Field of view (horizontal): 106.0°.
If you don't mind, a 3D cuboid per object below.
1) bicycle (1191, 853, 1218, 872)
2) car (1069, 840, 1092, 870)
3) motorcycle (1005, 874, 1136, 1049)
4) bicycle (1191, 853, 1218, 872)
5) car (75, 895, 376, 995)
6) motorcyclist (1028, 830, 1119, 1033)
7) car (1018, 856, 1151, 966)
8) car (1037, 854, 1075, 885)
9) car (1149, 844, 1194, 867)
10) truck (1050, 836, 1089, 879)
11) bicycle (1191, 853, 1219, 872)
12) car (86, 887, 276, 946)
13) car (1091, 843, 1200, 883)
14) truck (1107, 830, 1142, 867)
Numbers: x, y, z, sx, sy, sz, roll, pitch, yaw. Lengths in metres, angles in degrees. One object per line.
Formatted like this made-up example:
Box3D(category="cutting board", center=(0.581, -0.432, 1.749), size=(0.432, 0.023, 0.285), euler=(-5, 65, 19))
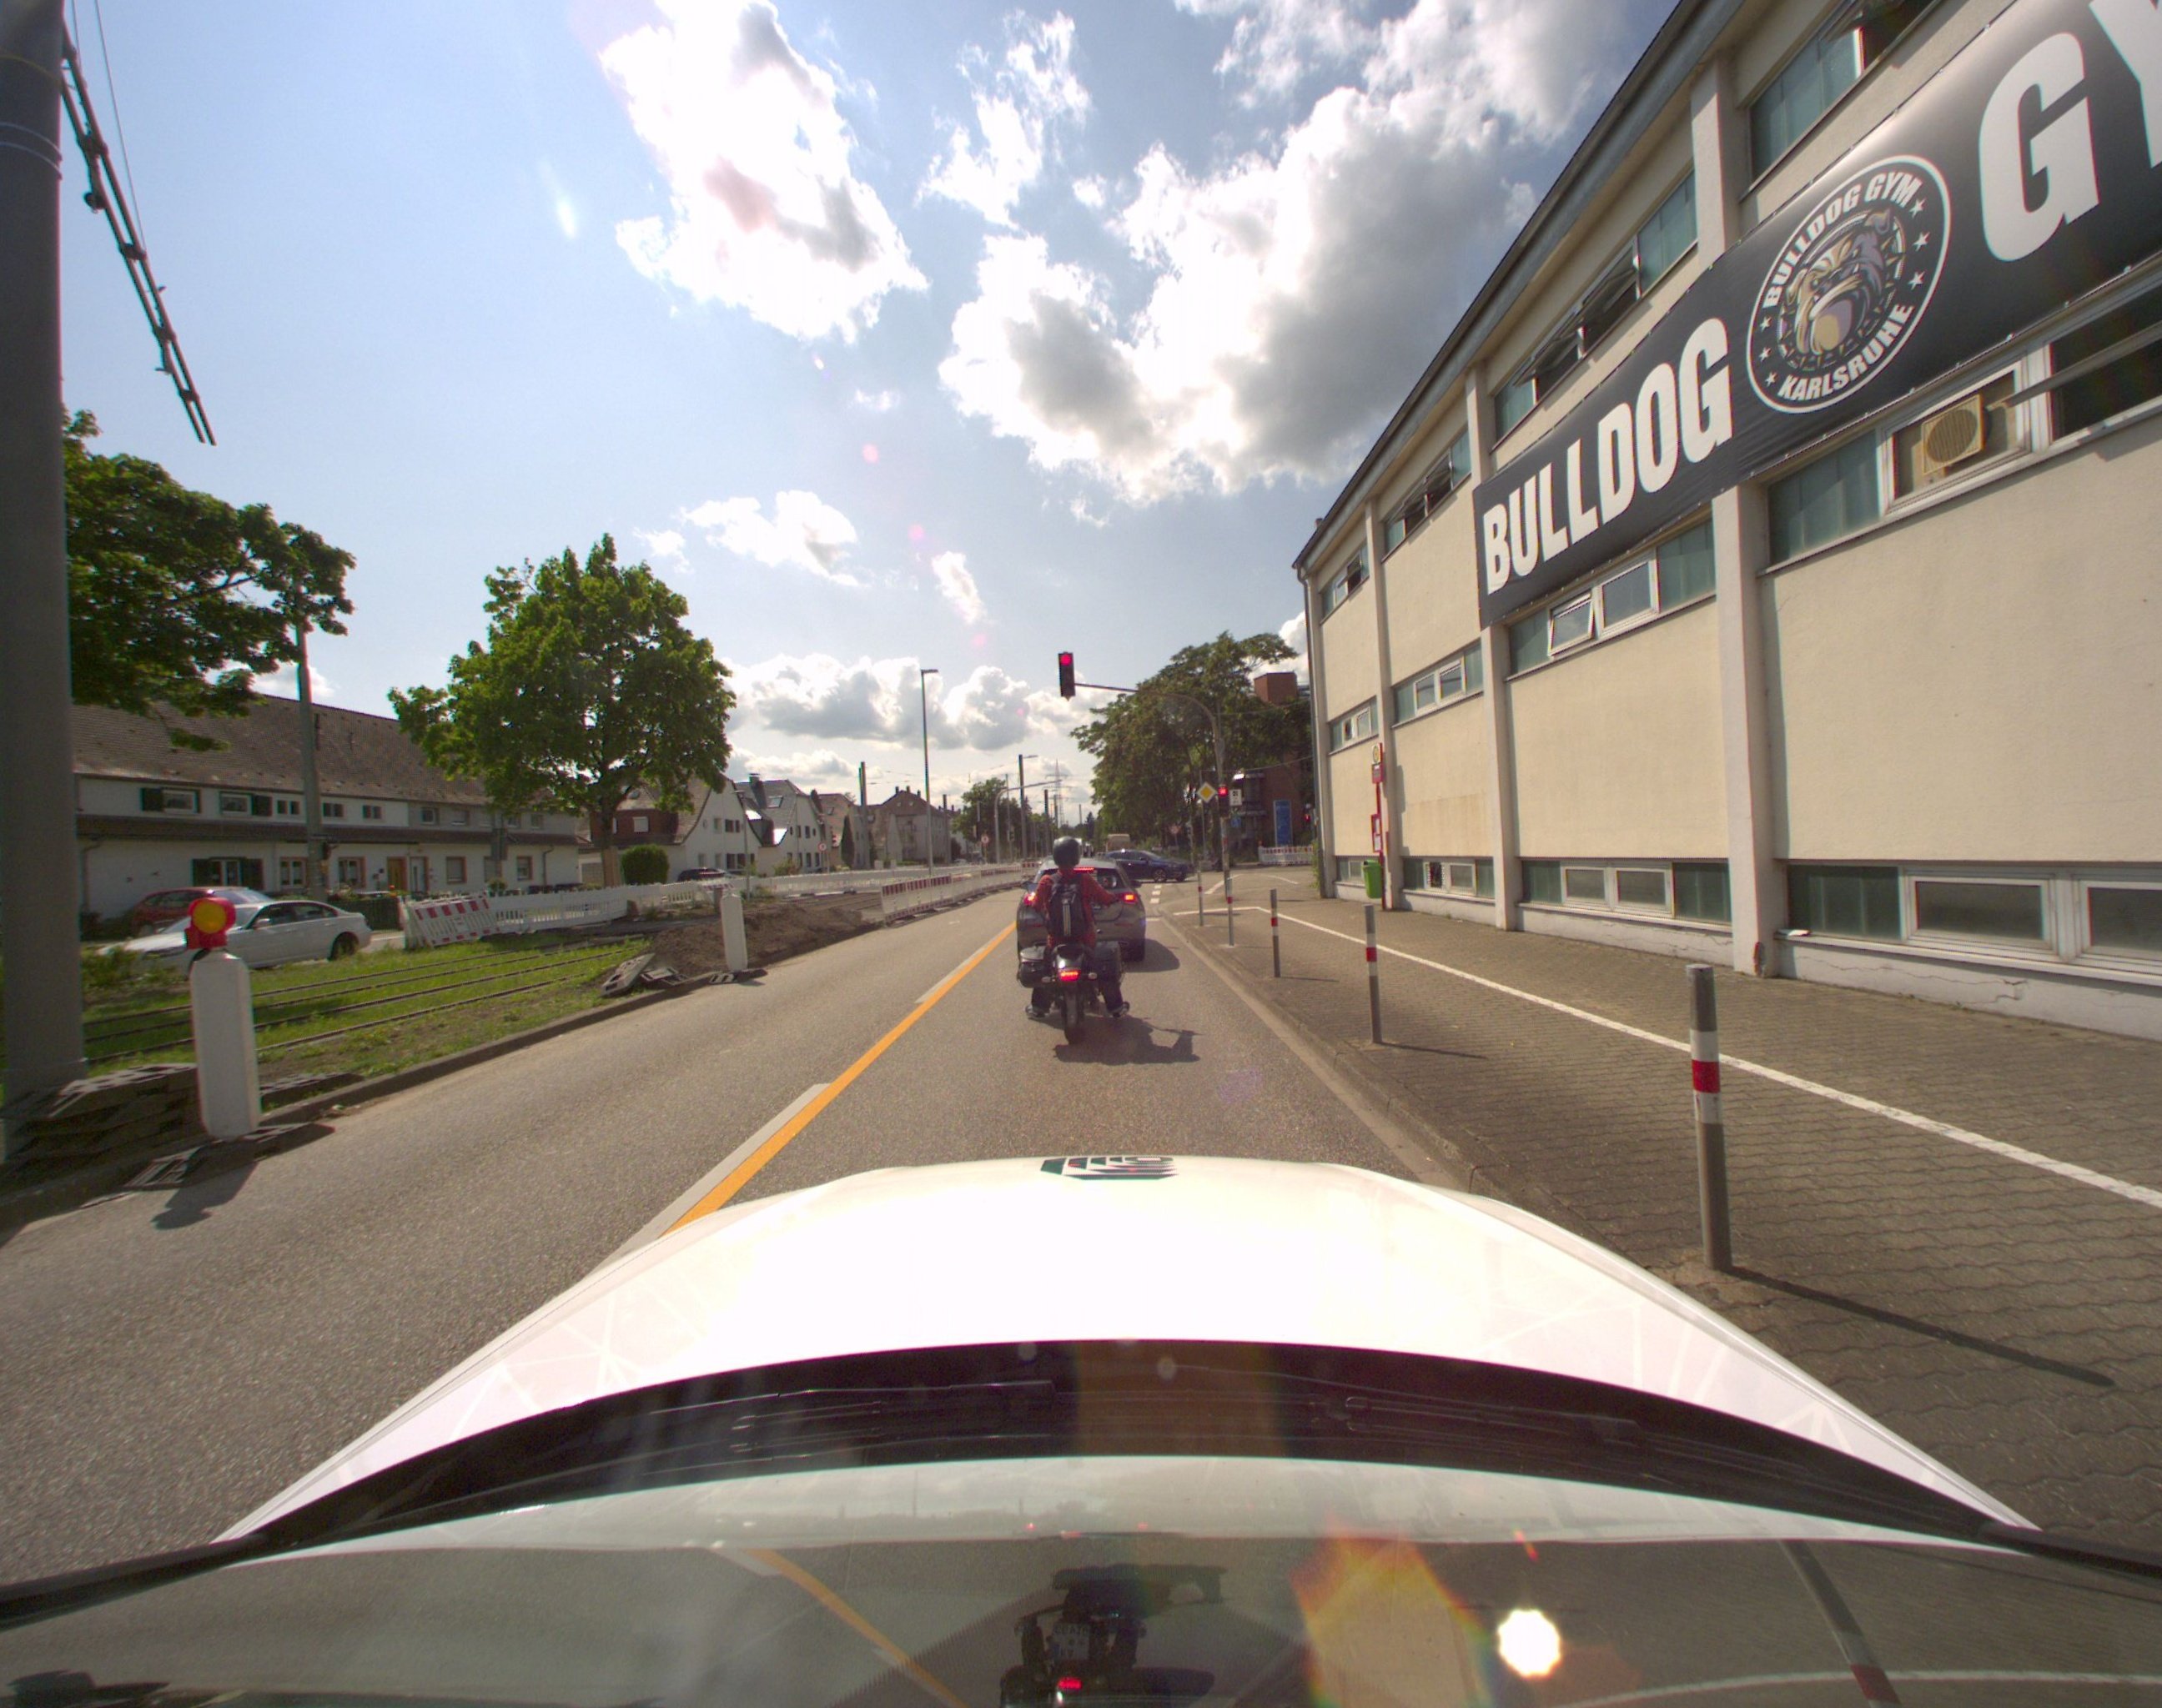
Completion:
Box3D(category="bicycle", center=(7.803, 0.517, 51.529), size=(1.699, 1.172, 0.438), euler=(-1, -1, 6))
Box3D(category="car", center=(-0.011, 0.083, 61.394), size=(1.583, 2.143, 3.628), euler=(-1, -1, 2))
Box3D(category="motorcycle", center=(-0.050, 0.818, 7.203), size=(0.939, 1.200, 2.473), euler=(-1, 0, 1))
Box3D(category="bicycle", center=(7.907, 0.522, 52.223), size=(1.699, 1.172, 0.438), euler=(-1, -1, 6))
Box3D(category="car", center=(-16.308, 1.644, 15.908), size=(1.538, 1.376, 4.245), euler=(-3, 0, -4))
Box3D(category="motorcyclist", center=(-0.054, 0.617, 6.835), size=(0.696, 1.604, 0.692), euler=(-1, -1, 1))
Box3D(category="car", center=(-0.062, 0.748, 12.732), size=(1.727, 1.403, 4.081), euler=(-1, 0, -3))
Box3D(category="car", center=(-1.272, 0.796, 43.060), size=(1.738, 1.437, 4.084), euler=(-4, -1, 1))
Box3D(category="car", center=(7.935, 0.116, 71.155), size=(4.023, 1.926, 1.781), euler=(-1, -1, -44))
Box3D(category="truck", center=(-0.659, 0.157, 52.376), size=(2.085, 2.476, 5.199), euler=(-4, 1, 2))
Box3D(category="bicycle", center=(7.773, 0.513, 50.984), size=(1.699, 1.172, 0.438), euler=(-1, -1, 6))
Box3D(category="car", center=(-28.516, 1.949, 25.894), size=(3.973, 1.509, 1.725), euler=(-3, 0, -1))
Box3D(category="car", center=(2.673, 0.381, 34.199), size=(4.213, 1.498, 1.661), euler=(-2, 0, 35))
Box3D(category="truck", center=(4.067, -0.427, 75.244), size=(2.954, 3.173, 7.771), euler=(-1, -1, 4))
